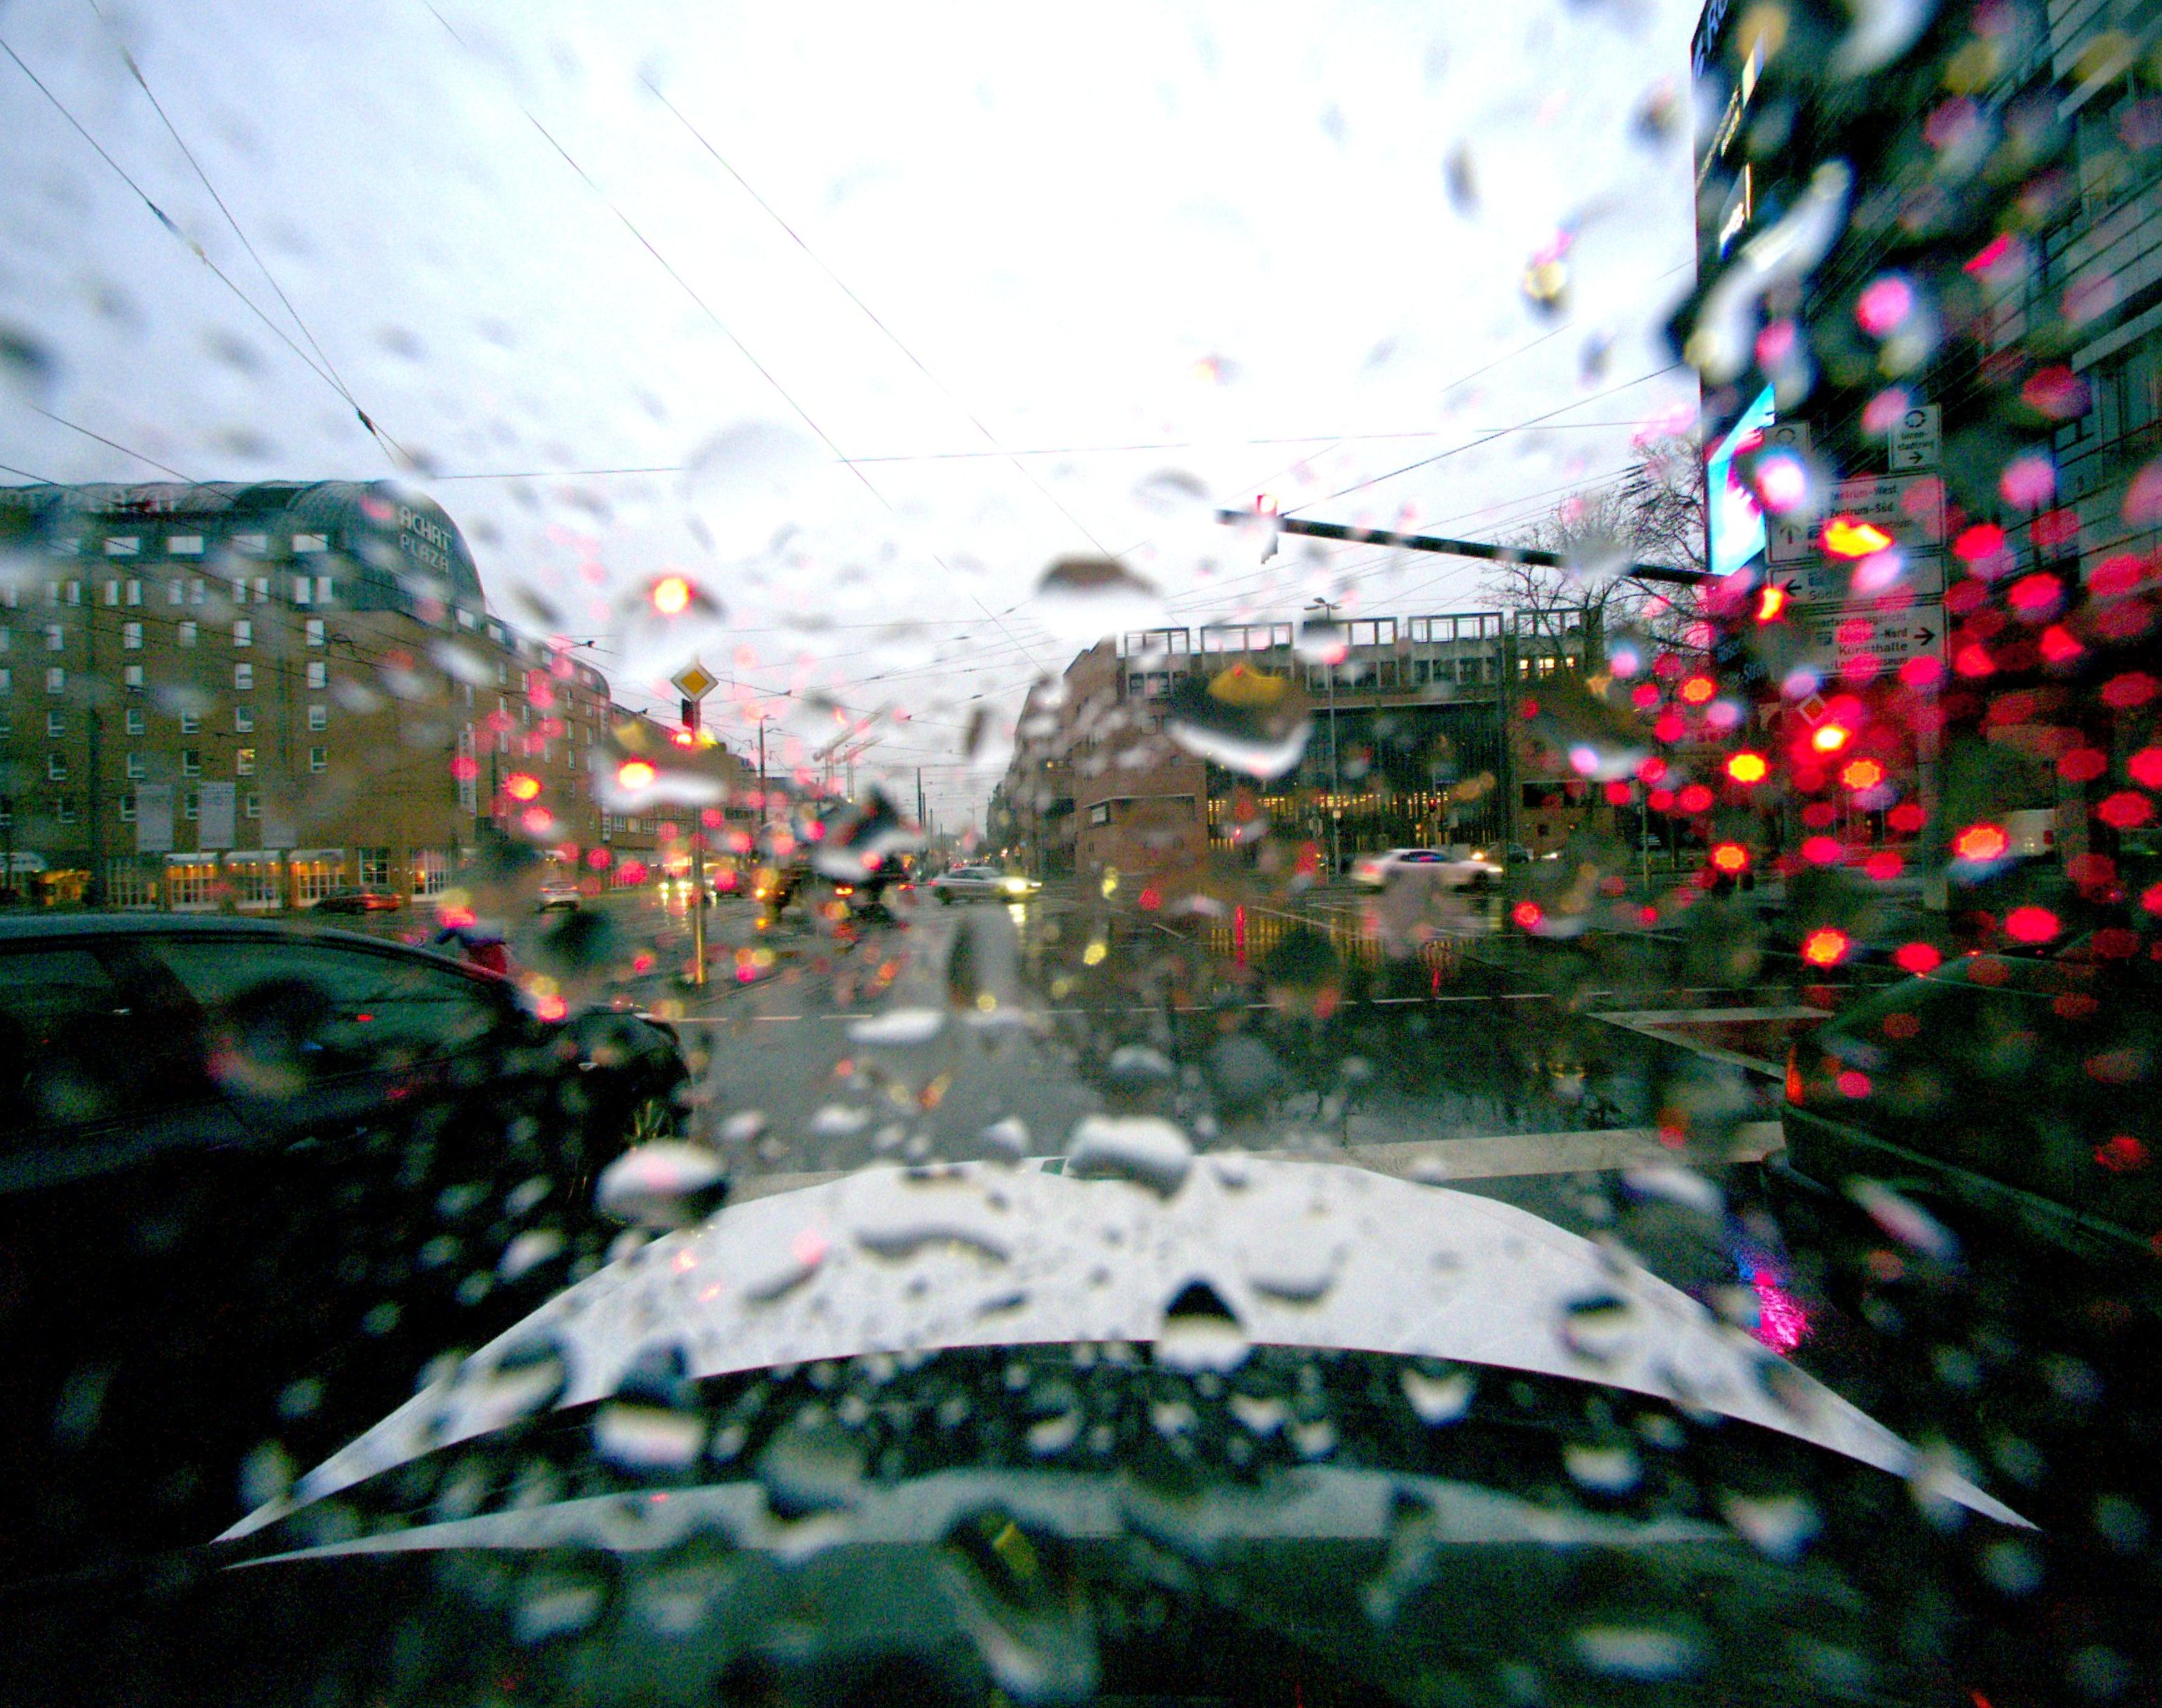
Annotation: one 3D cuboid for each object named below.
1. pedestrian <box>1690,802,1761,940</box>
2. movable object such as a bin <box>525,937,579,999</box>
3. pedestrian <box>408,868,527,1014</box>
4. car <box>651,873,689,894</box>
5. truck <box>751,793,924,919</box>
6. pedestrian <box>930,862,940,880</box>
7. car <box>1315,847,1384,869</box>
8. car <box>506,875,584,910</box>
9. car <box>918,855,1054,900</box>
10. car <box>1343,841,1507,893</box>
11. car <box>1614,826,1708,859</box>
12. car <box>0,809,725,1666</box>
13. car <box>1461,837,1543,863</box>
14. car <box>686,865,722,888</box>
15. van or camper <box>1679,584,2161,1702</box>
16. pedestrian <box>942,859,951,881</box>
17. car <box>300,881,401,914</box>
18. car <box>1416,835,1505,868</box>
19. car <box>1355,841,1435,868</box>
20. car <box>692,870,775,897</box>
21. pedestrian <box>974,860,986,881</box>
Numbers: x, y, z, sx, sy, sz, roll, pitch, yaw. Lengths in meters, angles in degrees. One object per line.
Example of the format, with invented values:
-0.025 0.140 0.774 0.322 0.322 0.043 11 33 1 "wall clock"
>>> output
10.486 0.267 13.264 0.574 2.184 0.619 -1 -1 -4 "pedestrian"
-6.728 1.436 10.356 0.540 0.699 0.408 -2 -2 -35 "movable object such as a bin"
-7.362 1.005 9.806 1.042 1.601 0.708 -3 -1 -37 "pedestrian"
-36.053 2.548 71.508 1.995 1.670 3.983 -2 0 -12 "car"
-8.393 0.103 27.335 2.863 3.633 7.439 -2 0 -39 "truck"
-11.935 1.389 66.587 0.700 1.484 0.574 -2 0 -9 "pedestrian"
18.247 0.289 55.462 3.977 1.310 1.998 -2 0 -2 "car"
-24.540 1.751 37.249 3.948 1.447 1.722 -2 0 37 "car"
-3.820 0.954 32.603 4.940 1.607 2.268 -2 0 29 "car"
11.763 0.431 28.121 4.795 1.561 2.053 -2 0 4 "car"
32.249 -0.654 45.348 3.979 1.600 1.845 -2 4 -4 "car"
-2.722 0.717 2.177 1.623 1.523 3.944 -2 -1 2 "car"
24.821 -0.256 48.096 3.979 1.288 1.845 -2 4 -4 "car"
-32.868 1.974 71.149 1.995 1.861 3.983 -2 0 -12 "car"
2.679 0.489 0.315 1.750 1.906 4.420 -1 0 2 "van or camper"
-10.654 1.242 64.529 0.665 1.725 0.487 -2 0 -9 "pedestrian"
-37.040 2.210 41.334 3.726 1.459 1.706 -2 0 6 "car"
20.432 -0.157 43.904 3.979 1.504 1.845 -2 4 -4 "car"
18.314 0.013 47.543 3.979 1.263 1.845 -2 4 -4 "car"
-20.087 1.705 47.144 3.970 1.441 1.716 2 -2 3 "car"
-8.253 1.314 66.475 0.843 1.687 0.647 -2 0 -9 "pedestrian"
